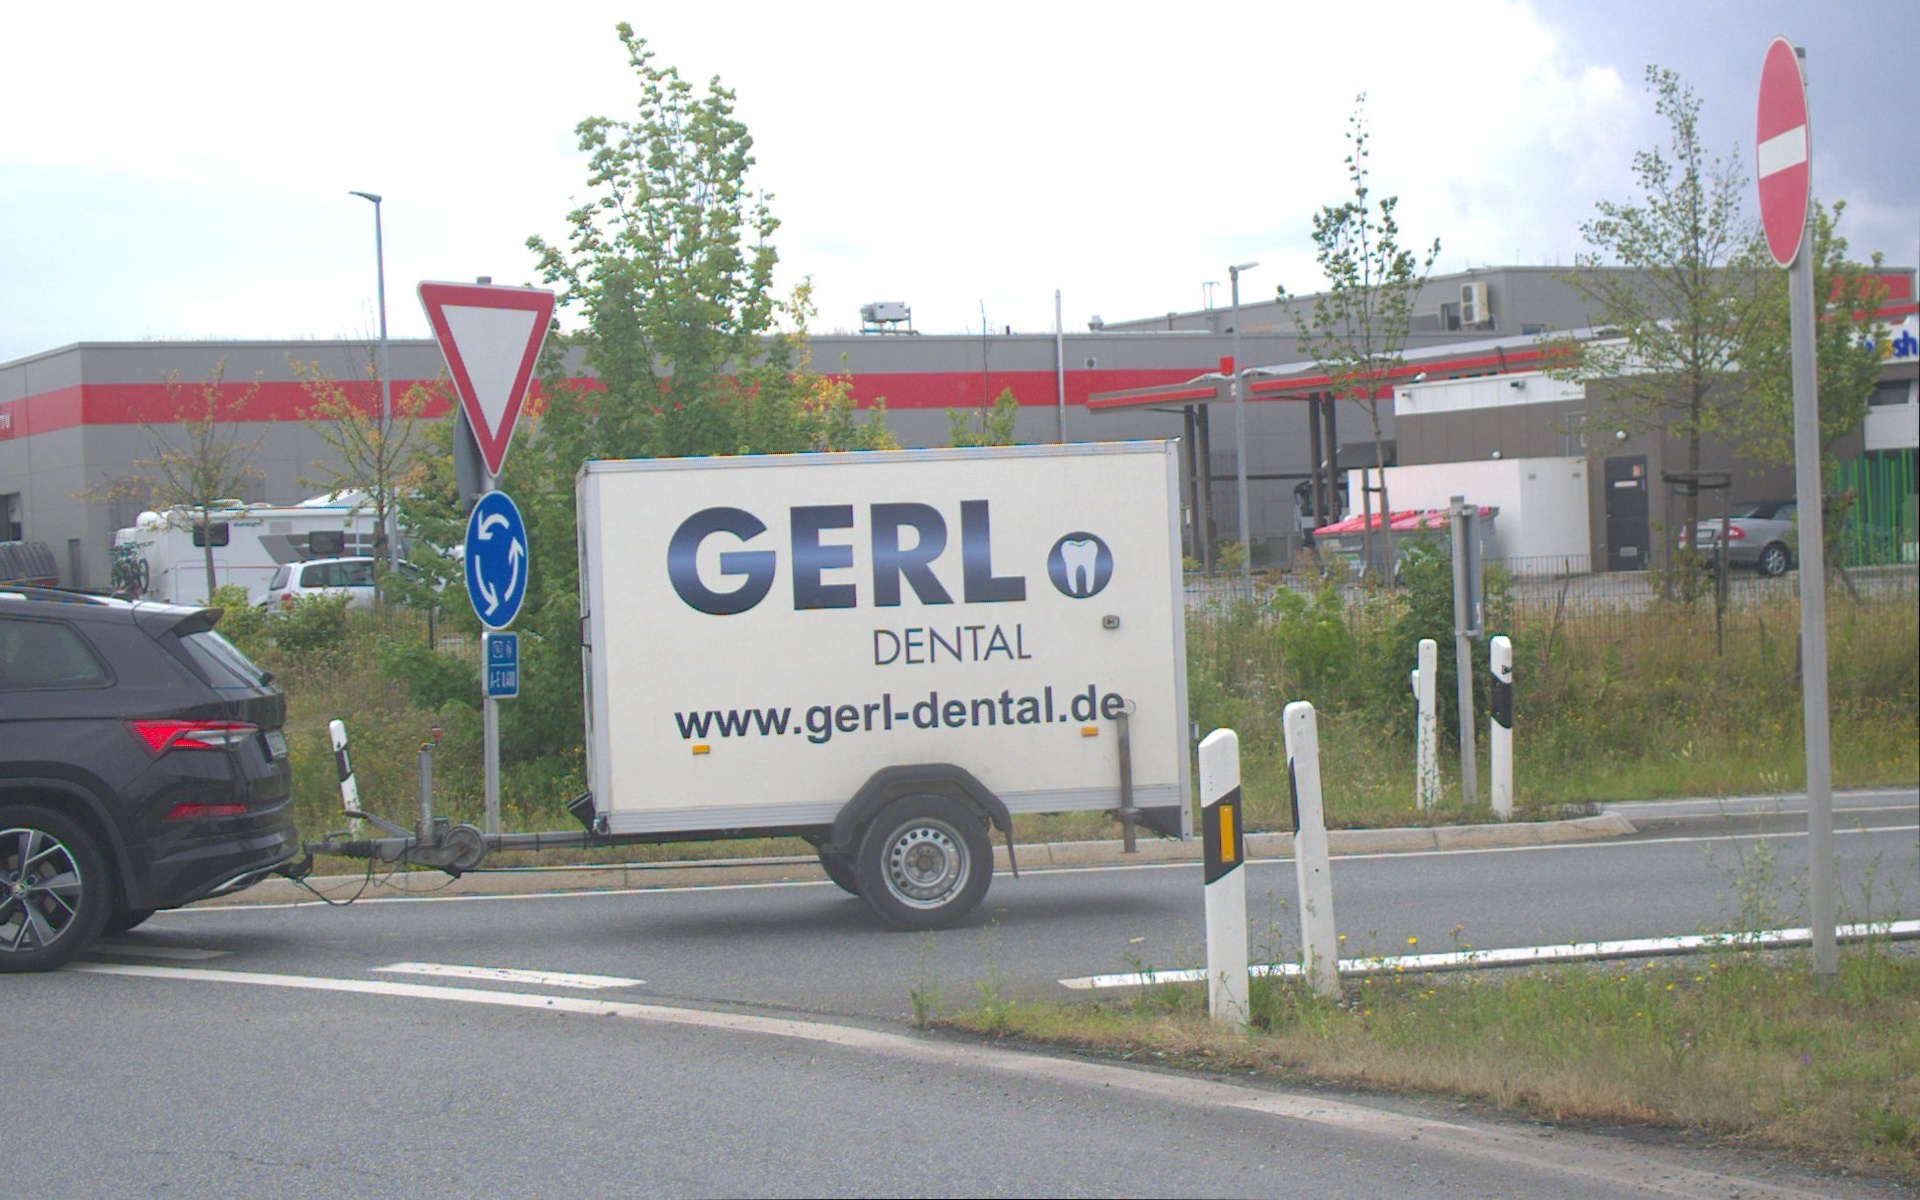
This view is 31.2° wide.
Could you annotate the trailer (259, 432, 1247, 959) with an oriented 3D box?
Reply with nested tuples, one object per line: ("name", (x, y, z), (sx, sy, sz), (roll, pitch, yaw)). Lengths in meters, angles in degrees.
("trailer", (-0.965, 0.379, 15.456), (4.131, 2.084, 1.813), (-2, 0, -8))

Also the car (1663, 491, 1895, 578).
("car", (14.786, -1.189, 62.012), (3.987, 1.426, 1.670), (-2, 0, -31))

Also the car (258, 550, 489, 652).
("car", (-11.473, -0.002, 67.264), (4.048, 1.714, 1.780), (-4, 2, -25))

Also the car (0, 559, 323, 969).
("car", (-5.249, 0.726, 15.040), (4.600, 1.664, 1.817), (-2, 0, -3))

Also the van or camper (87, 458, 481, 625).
("van or camper", (-14.387, -1.289, 73.425), (7.714, 3.168, 2.492), (-4, 2, -30))
